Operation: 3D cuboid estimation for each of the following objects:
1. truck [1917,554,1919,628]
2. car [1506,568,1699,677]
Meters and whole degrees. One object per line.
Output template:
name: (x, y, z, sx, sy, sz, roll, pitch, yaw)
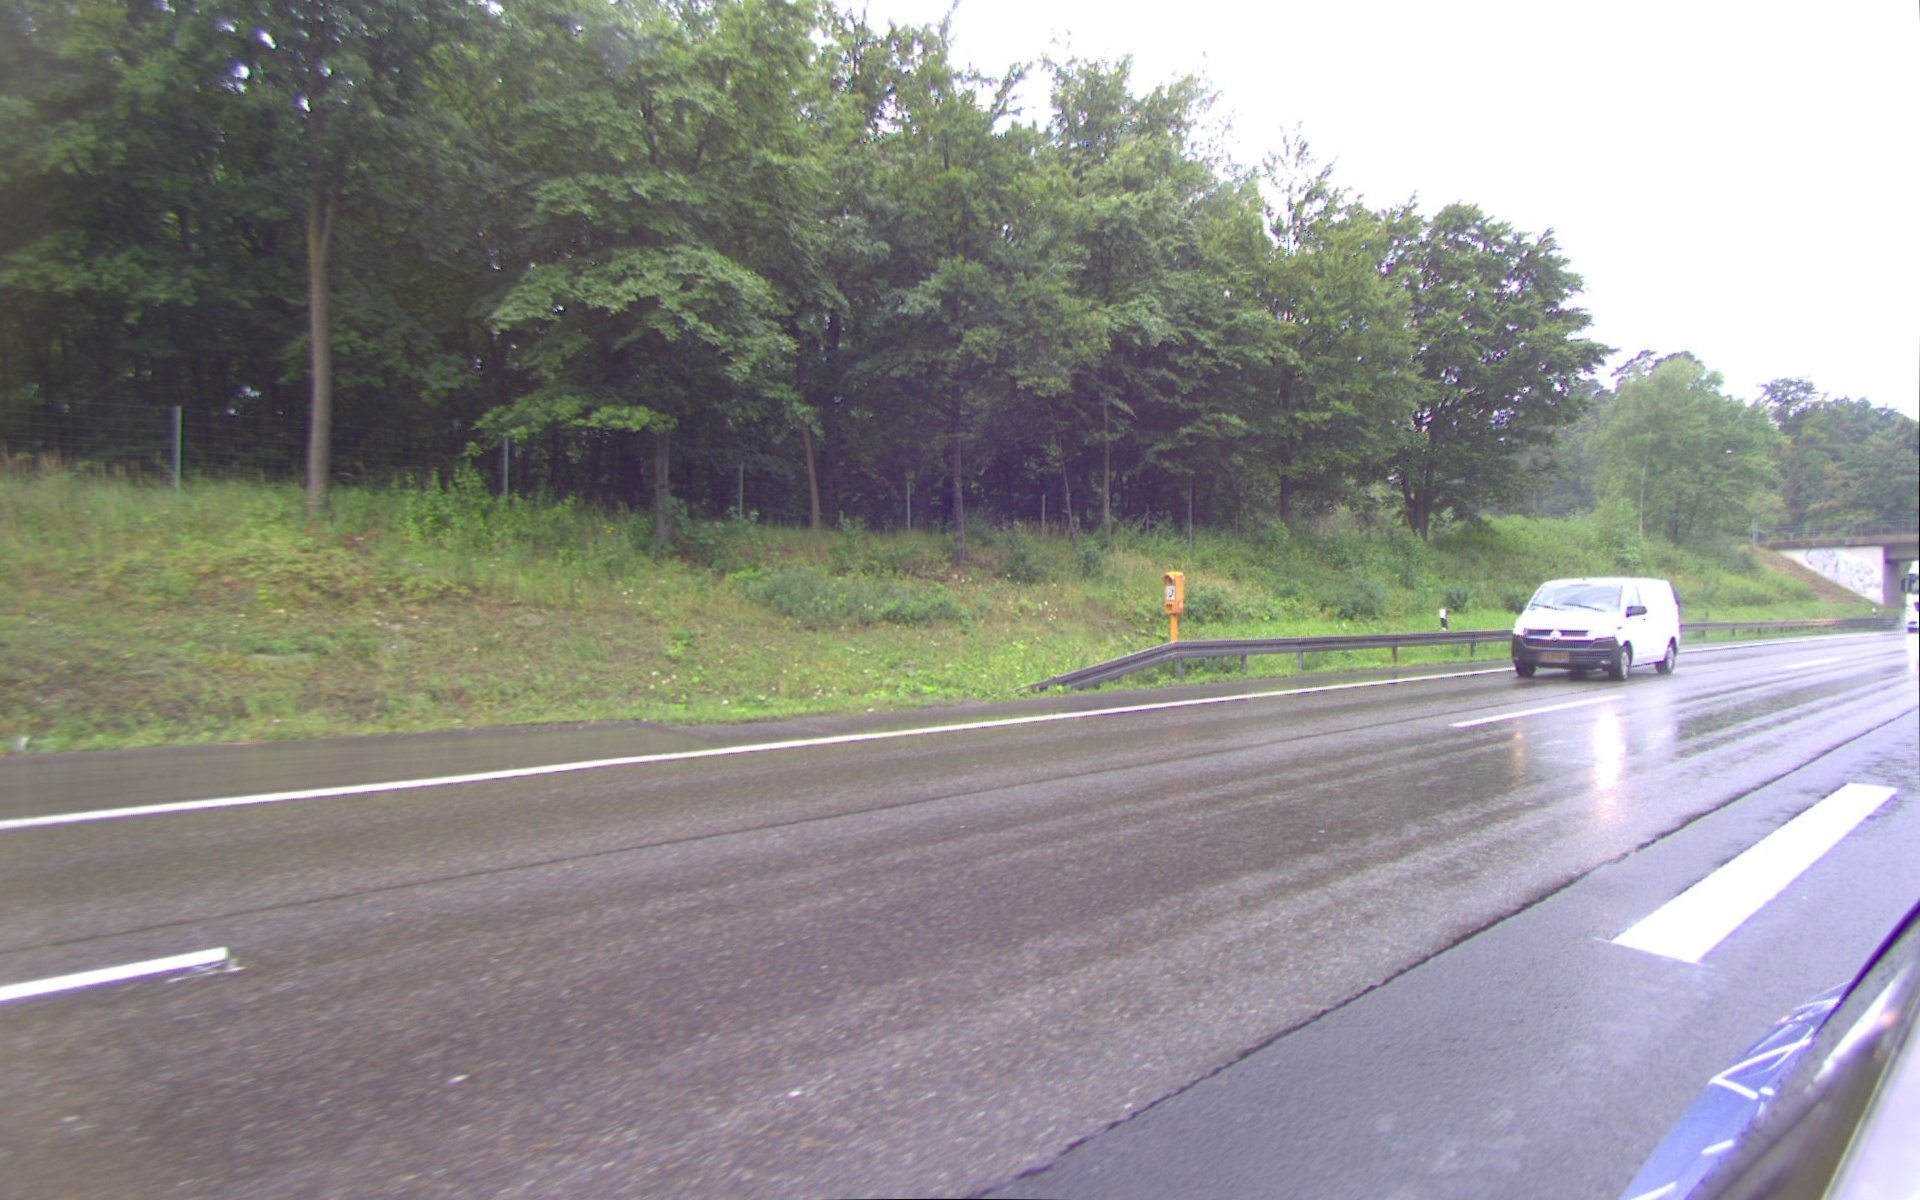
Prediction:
truck: (55.697, -0.547, 56.414, 5.904, 4.065, 2.607, 0, -1, -39)
car: (12.976, 0.402, 20.317, 4.683, 1.945, 1.993, 0, 0, -40)
